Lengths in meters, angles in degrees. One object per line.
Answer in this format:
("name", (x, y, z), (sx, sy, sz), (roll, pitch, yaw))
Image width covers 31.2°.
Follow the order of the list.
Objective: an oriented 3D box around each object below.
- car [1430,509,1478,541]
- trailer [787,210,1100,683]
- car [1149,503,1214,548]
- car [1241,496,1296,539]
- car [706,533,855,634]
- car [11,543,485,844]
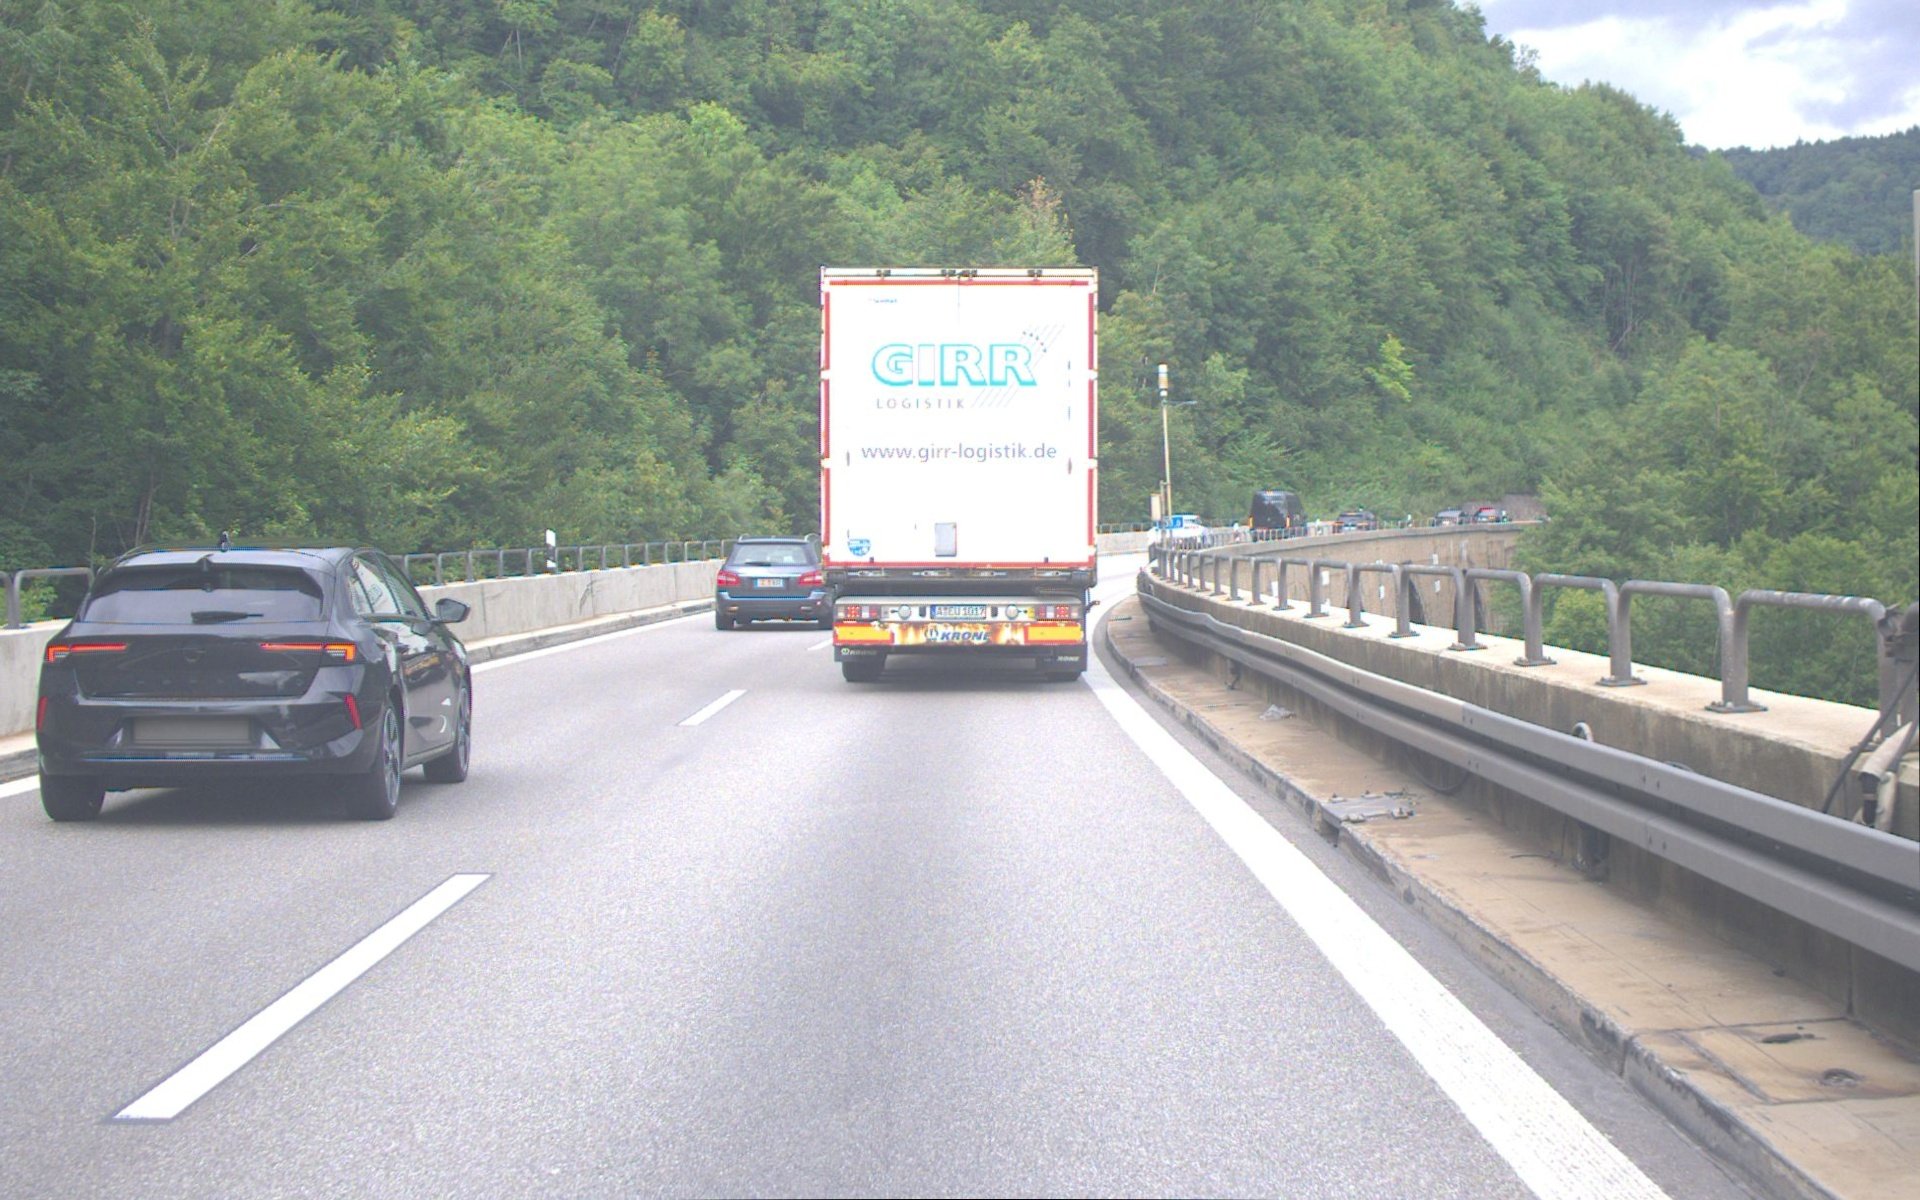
("car", (28.184, -4.258, 196.168), (1.995, 1.788, 3.996), (0, 0, 19))
("trailer", (-0.084, -1.475, 37.584), (2.813, 4.288, 12.245), (-1, 1, 1))
("car", (9.260, -3.101, 143.406), (1.995, 1.788, 3.997), (0, 0, 15))
("car", (14.970, -4.005, 166.735), (1.995, 2.007, 3.997), (0, 0, 15))
("car", (-2.778, -0.270, 54.126), (1.883, 1.505, 4.418), (-1, 1, 3))
("car", (-3.783, 0.416, 19.035), (1.773, 1.456, 4.582), (0, 1, -1))
